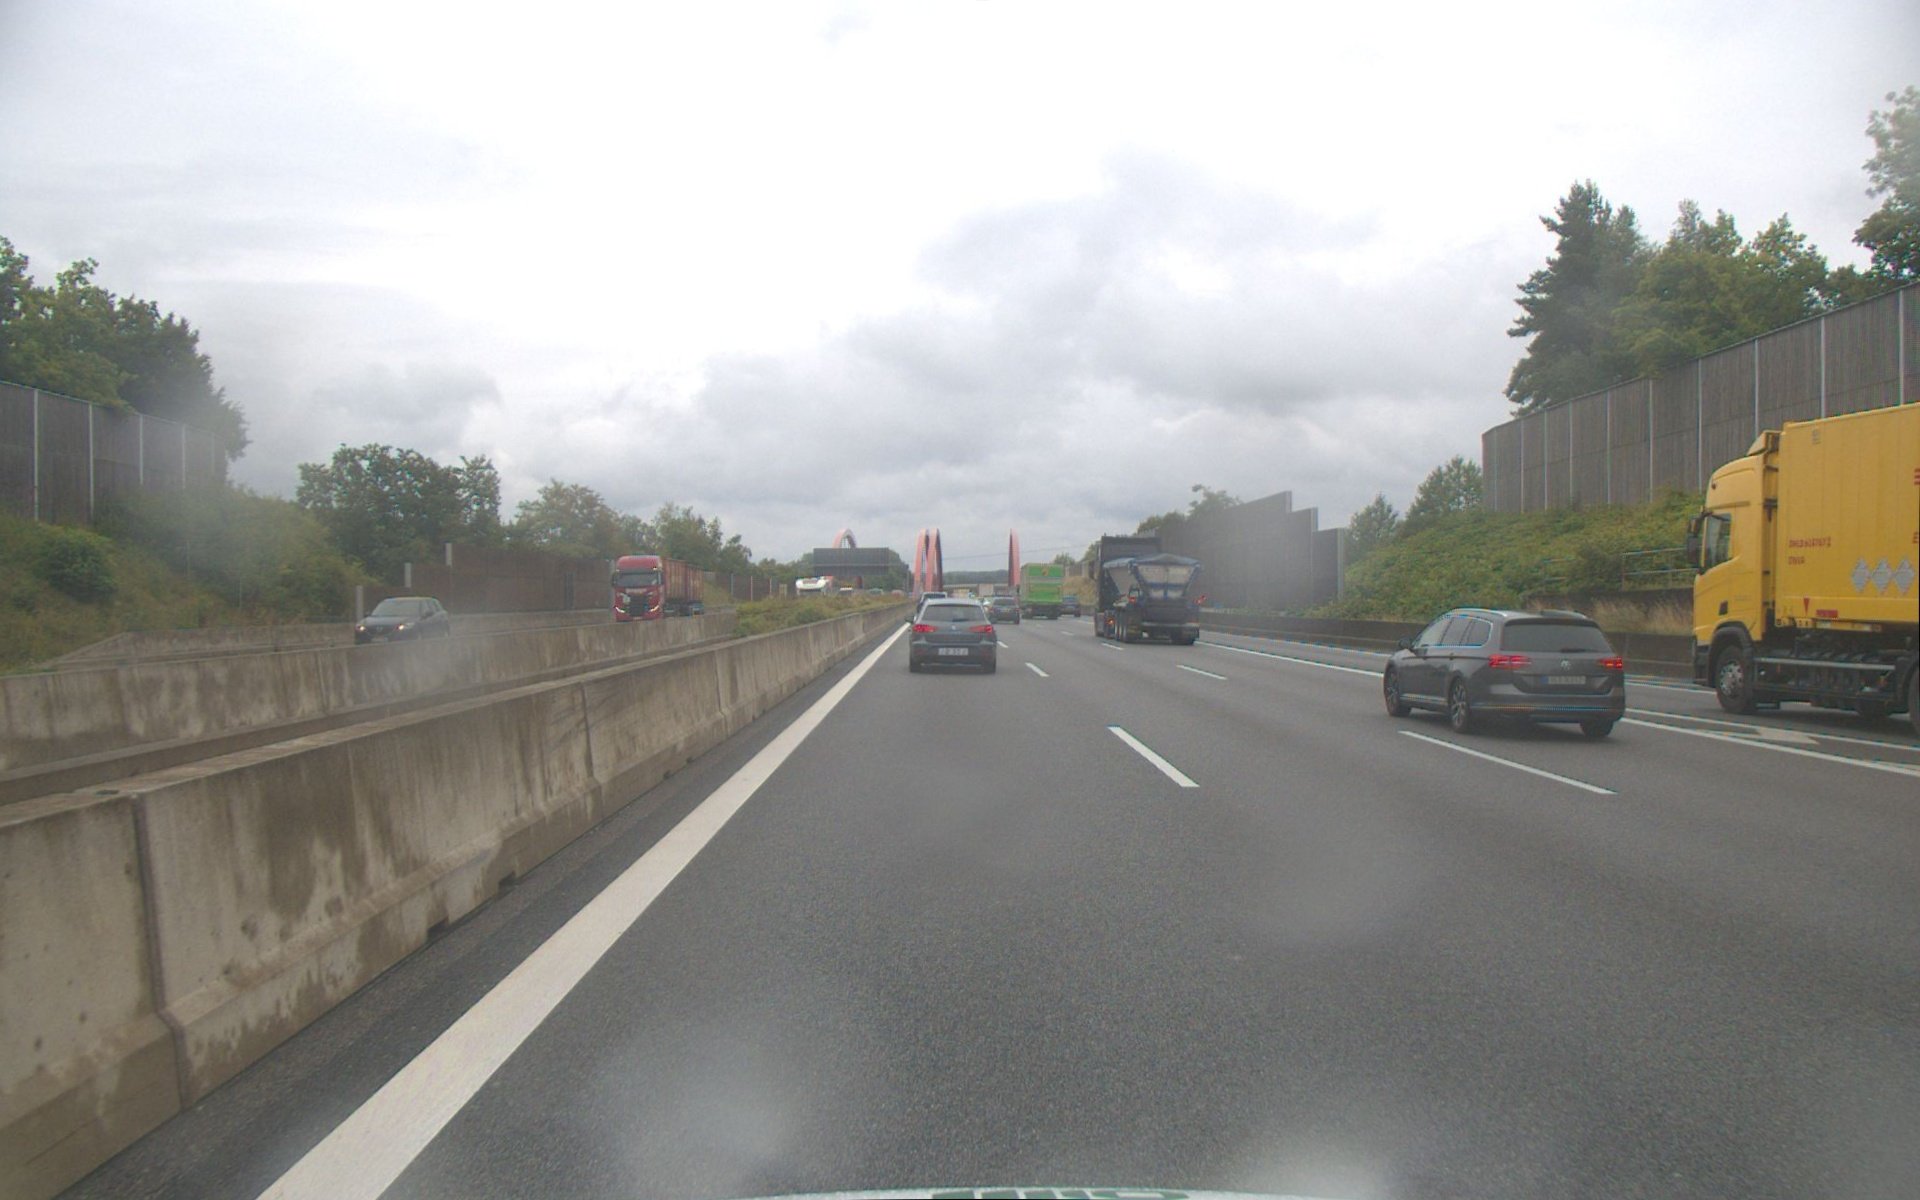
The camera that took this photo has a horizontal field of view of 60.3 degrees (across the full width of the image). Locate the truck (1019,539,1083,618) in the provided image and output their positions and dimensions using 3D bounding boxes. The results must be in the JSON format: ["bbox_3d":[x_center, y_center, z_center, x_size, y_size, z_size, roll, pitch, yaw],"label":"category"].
[{"bbox_3d":[6.420,-1.451,119.118,3.916,5.358,11.219,1,0,0],"label":"truck"}]

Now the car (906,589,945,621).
[{"bbox_3d":[-1.772,0.234,85.912,1.953,1.612,3.999,0,0,-1],"label":"car"}]

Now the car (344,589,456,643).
[{"bbox_3d":[-17.084,0.465,50.667,1.953,1.564,4.481,-1,0,-1],"label":"car"}]

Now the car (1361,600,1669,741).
[{"bbox_3d":[6.708,0.773,20.708,1.901,1.452,5.287,1,0,-2],"label":"car"}]

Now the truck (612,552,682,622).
[{"bbox_3d":[-17.591,-0.691,93.367,2.641,3.771,6.480,1,0,0],"label":"truck"}]

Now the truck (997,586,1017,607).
[{"bbox_3d":[5.873,-0.406,206.435,2.313,2.550,6.144,1,0,0],"label":"truck"}]

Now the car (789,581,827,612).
[{"bbox_3d":[-11.476,-0.238,125.443,2.325,2.231,7.722,0,0,-1],"label":"car"}]

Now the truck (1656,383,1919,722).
[{"bbox_3d":[12.629,-0.535,21.847,2.631,4.027,9.323,1,0,-2],"label":"truck"}]

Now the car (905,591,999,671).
[{"bbox_3d":[-0.207,0.582,32.923,1.728,1.478,3.999,1,0,-2],"label":"car"}]

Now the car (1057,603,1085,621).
[{"bbox_3d":[8.902,0.929,133.054,1.953,1.378,3.999,0,0,-1],"label":"car"}]

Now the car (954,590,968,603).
[{"bbox_3d":[0.134,-0.493,242.447,1.953,1.847,4.000,1,0,0],"label":"car"}]

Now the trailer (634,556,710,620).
[{"bbox_3d":[-17.732,-0.740,102.650,2.671,3.748,12.561,0,0,-1],"label":"trailer"}]

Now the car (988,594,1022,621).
[{"bbox_3d":[2.474,0.412,92.268,1.745,1.431,3.626,1,0,-1],"label":"car"}]

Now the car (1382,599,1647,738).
[{"bbox_3d":[6.633,0.752,20.307,1.629,1.482,4.469,1,0,-2],"label":"car"}]

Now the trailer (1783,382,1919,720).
[{"bbox_3d":[12.891,-0.564,14.442,2.597,4.022,16.680,1,0,-2],"label":"trailer"}]

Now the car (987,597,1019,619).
[{"bbox_3d":[2.756,0.500,106.402,1.953,1.378,4.000,0,0,0],"label":"car"}]

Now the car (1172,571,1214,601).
[{"bbox_3d":[14.270,-0.852,101.539,1.953,1.780,3.999,0,0,-1],"label":"car"}]

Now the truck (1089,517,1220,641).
[{"bbox_3d":[6.858,-0.678,60.437,3.026,4.019,12.942,-1,0,-1],"label":"truck"}]

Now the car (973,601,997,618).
[{"bbox_3d":[2.112,0.838,142.088,1.953,1.378,3.999,0,0,-1],"label":"car"}]
